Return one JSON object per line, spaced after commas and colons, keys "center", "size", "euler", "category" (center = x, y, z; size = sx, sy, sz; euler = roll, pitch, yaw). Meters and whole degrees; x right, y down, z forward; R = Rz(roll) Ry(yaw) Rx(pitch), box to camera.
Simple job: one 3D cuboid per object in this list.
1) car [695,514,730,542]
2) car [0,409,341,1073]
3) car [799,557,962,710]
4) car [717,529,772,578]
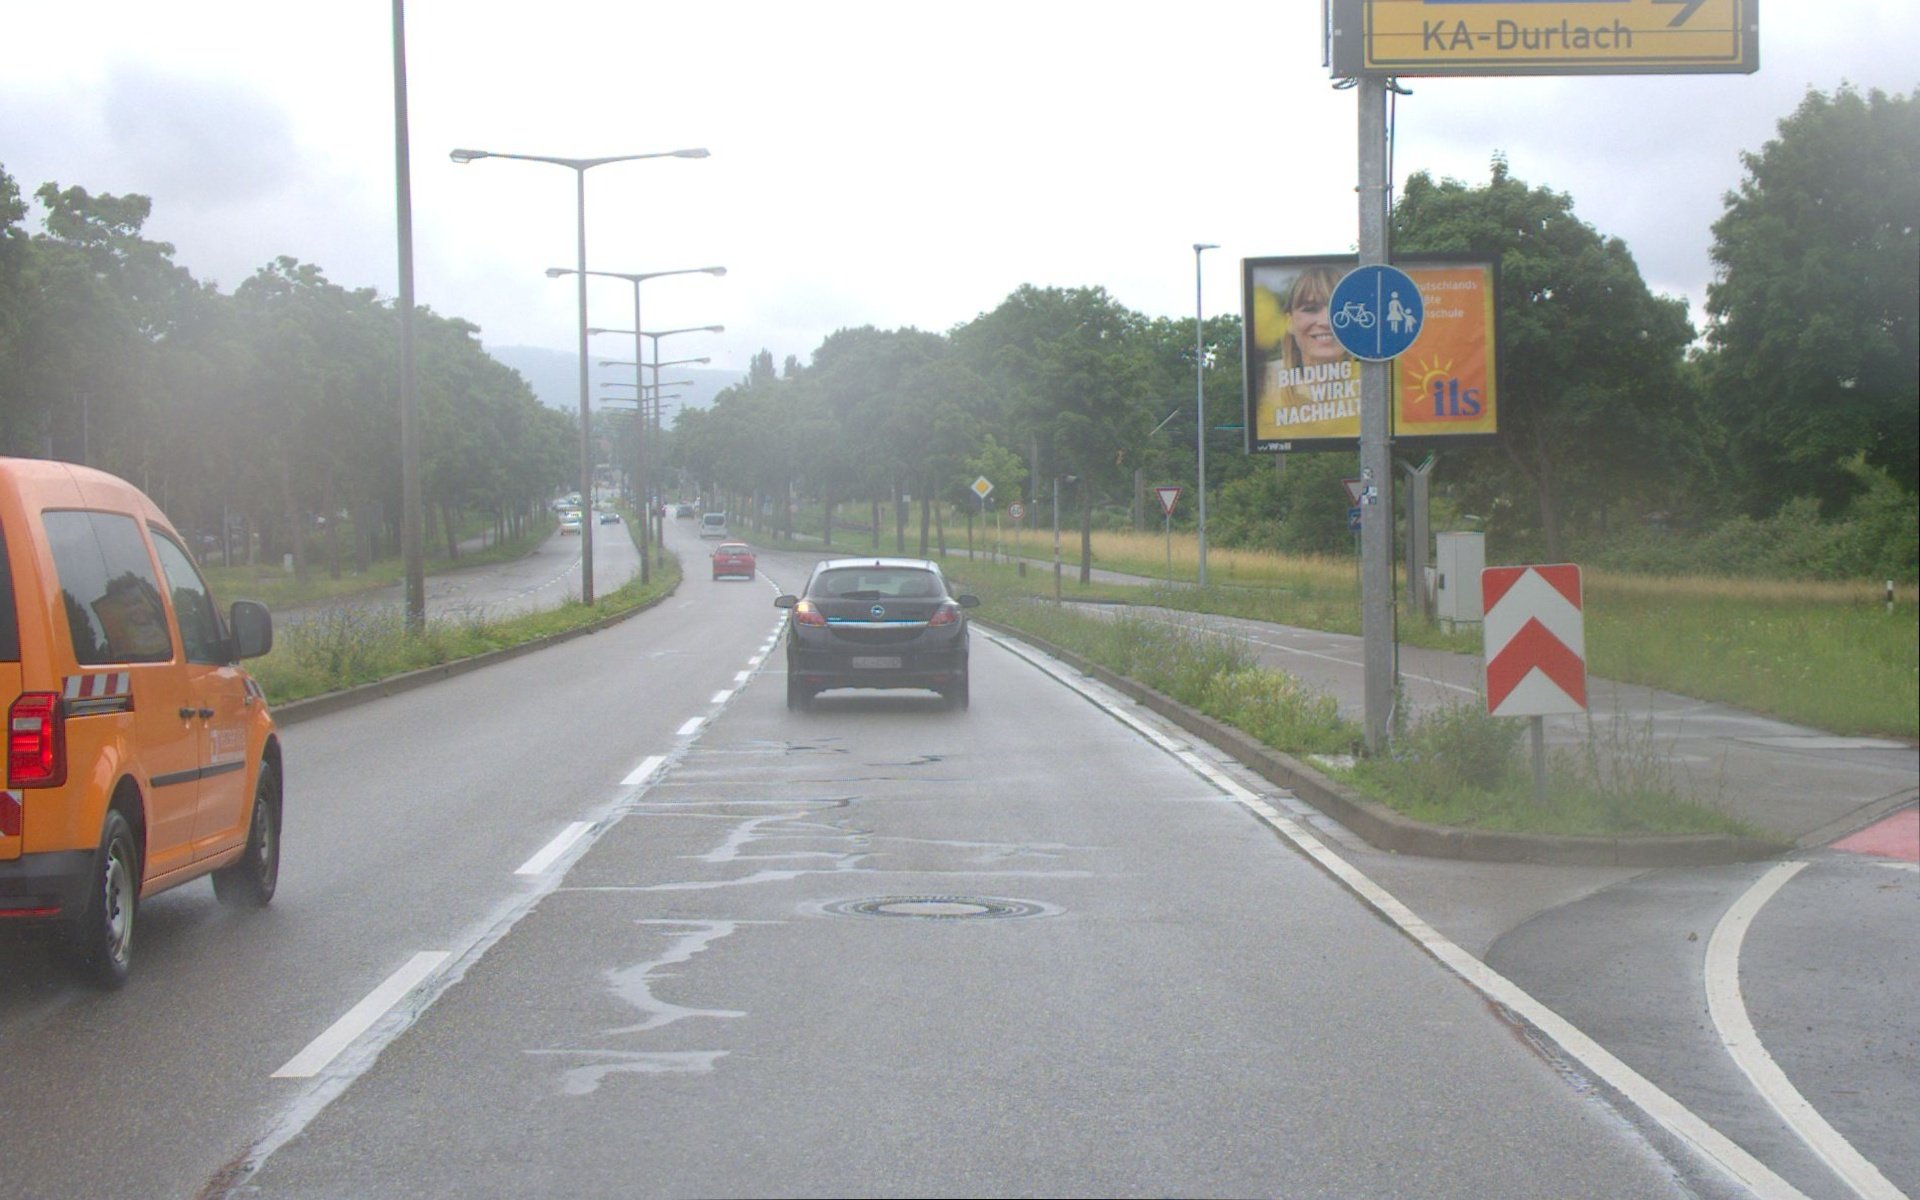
{"center": [-18.569, -5.392, 257.499], "size": [2.515, 2.045, 5.294], "euler": [-1, 1, -5], "category": "car"}
{"center": [-3.599, 0.408, 12.854], "size": [1.734, 2.012, 4.849], "euler": [-1, 1, -1], "category": "car"}
{"center": [-0.776, 0.279, 32.917], "size": [1.463, 1.324, 3.758], "euler": [0, 2, -2], "category": "car"}
{"center": [-8.398, -1.814, 134.177], "size": [1.993, 1.873, 4.000], "euler": [0, 1, -2], "category": "car"}
